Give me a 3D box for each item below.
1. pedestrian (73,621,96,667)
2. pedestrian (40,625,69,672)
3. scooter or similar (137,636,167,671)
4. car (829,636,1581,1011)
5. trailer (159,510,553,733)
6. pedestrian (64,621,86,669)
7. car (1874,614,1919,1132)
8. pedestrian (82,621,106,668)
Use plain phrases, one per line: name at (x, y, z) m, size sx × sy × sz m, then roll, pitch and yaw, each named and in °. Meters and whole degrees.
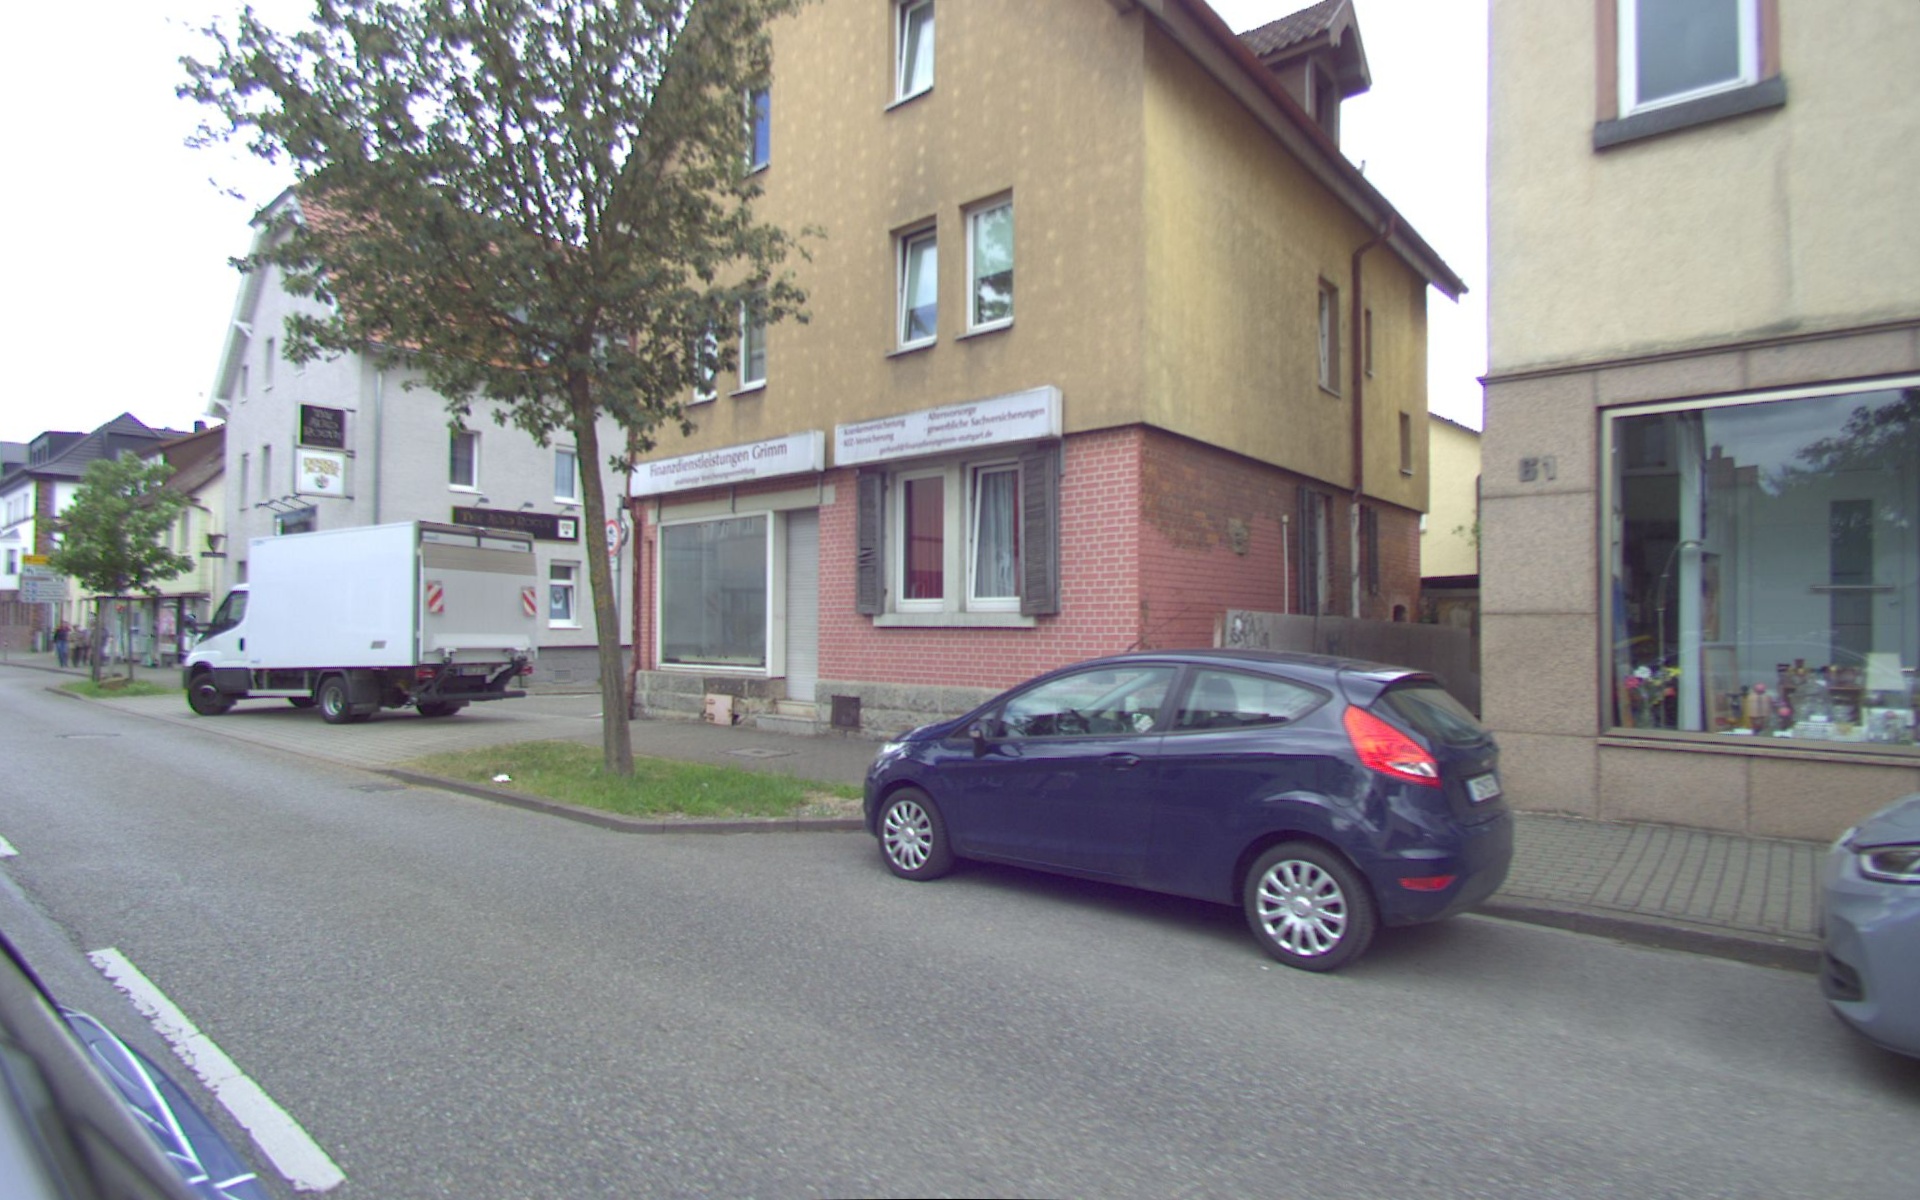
pedestrian at (-33.881, 1.698, 39.168) m, size 0.648 × 1.750 × 0.548 m, roll -2°, pitch -3°, yaw 41°
pedestrian at (-33.920, 1.803, 37.914) m, size 0.717 × 1.750 × 0.670 m, roll -2°, pitch -3°, yaw 40°
scooter or similar at (-28.322, 1.869, 35.479) m, size 1.720 × 1.179 × 0.522 m, roll -1°, pitch -1°, yaw 41°
car at (1.194, 0.958, 5.890) m, size 3.928 × 1.435 × 1.665 m, roll -1°, pitch -4°, yaw 40°
trailer at (-10.518, 0.333, 17.451) m, size 7.100 × 3.244 × 2.488 m, roll 0°, pitch -1°, yaw 28°
pedestrian at (-33.051, 1.677, 37.790) m, size 0.648 × 1.750 × 0.491 m, roll -2°, pitch -3°, yaw 41°
car at (4.988, 0.834, 2.409) m, size 4.112 × 1.578 × 1.692 m, roll -1°, pitch -4°, yaw 42°
pedestrian at (-32.751, 1.674, 38.280) m, size 0.648 × 1.750 × 0.548 m, roll -2°, pitch -3°, yaw 41°
